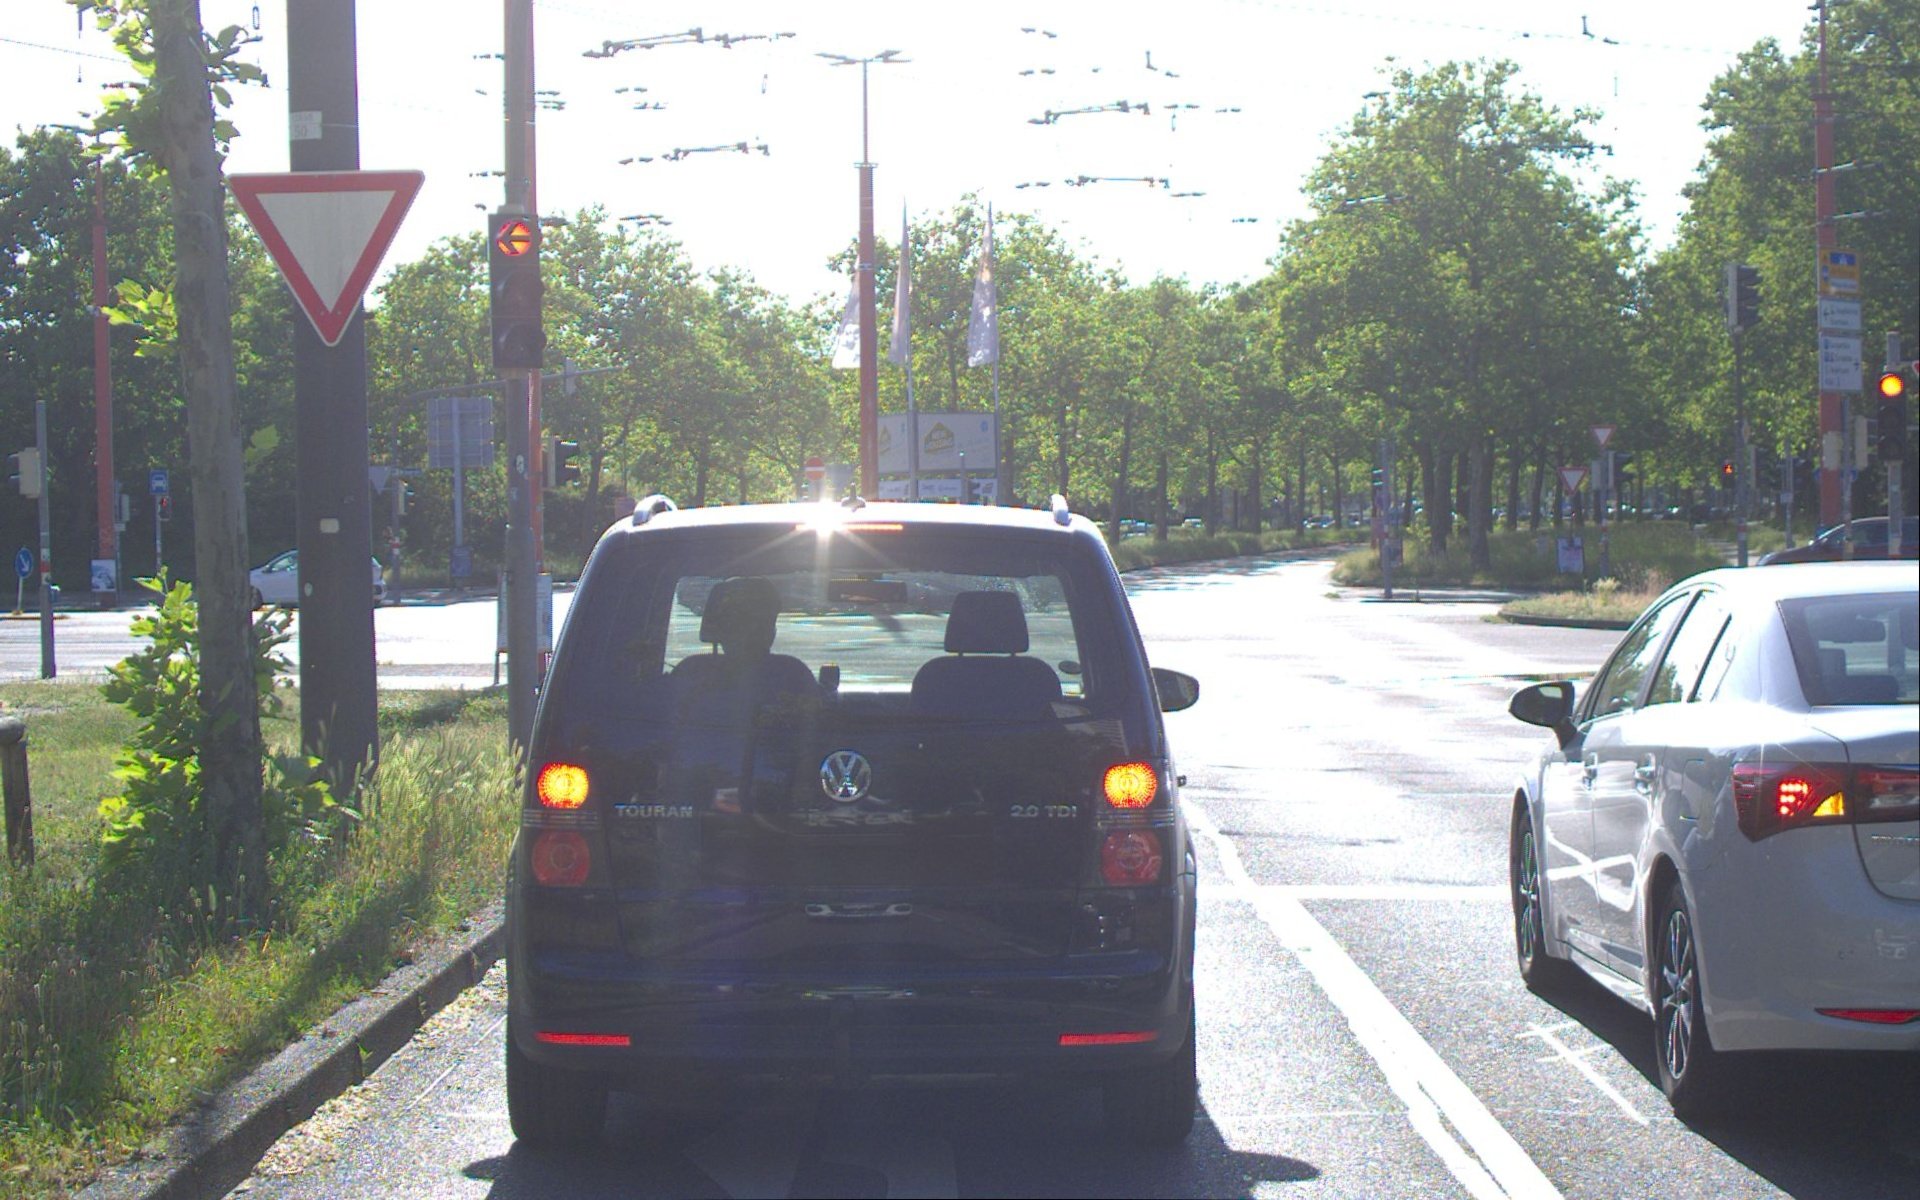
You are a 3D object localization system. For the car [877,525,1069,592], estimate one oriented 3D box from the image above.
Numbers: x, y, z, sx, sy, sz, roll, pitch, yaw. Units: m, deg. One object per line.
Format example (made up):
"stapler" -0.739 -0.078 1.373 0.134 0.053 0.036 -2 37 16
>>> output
"car" 0.270 -0.897 73.843 3.797 1.398 1.654 1 1 27

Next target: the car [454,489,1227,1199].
"car" -0.254 0.536 9.978 1.738 1.597 4.326 1 1 1

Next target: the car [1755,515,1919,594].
"car" 17.325 -0.875 65.109 4.125 1.466 1.654 1 1 29

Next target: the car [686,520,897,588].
"car" -3.545 -0.980 72.231 4.124 1.398 1.655 1 1 23

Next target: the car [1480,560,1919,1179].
"car" 2.756 0.617 10.157 1.799 1.435 4.326 1 1 1

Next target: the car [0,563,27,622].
"car" -24.514 -0.202 82.998 3.798 1.398 1.654 1 1 31

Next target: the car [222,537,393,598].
"car" -15.581 -0.789 82.087 3.797 1.398 1.654 1 1 26
